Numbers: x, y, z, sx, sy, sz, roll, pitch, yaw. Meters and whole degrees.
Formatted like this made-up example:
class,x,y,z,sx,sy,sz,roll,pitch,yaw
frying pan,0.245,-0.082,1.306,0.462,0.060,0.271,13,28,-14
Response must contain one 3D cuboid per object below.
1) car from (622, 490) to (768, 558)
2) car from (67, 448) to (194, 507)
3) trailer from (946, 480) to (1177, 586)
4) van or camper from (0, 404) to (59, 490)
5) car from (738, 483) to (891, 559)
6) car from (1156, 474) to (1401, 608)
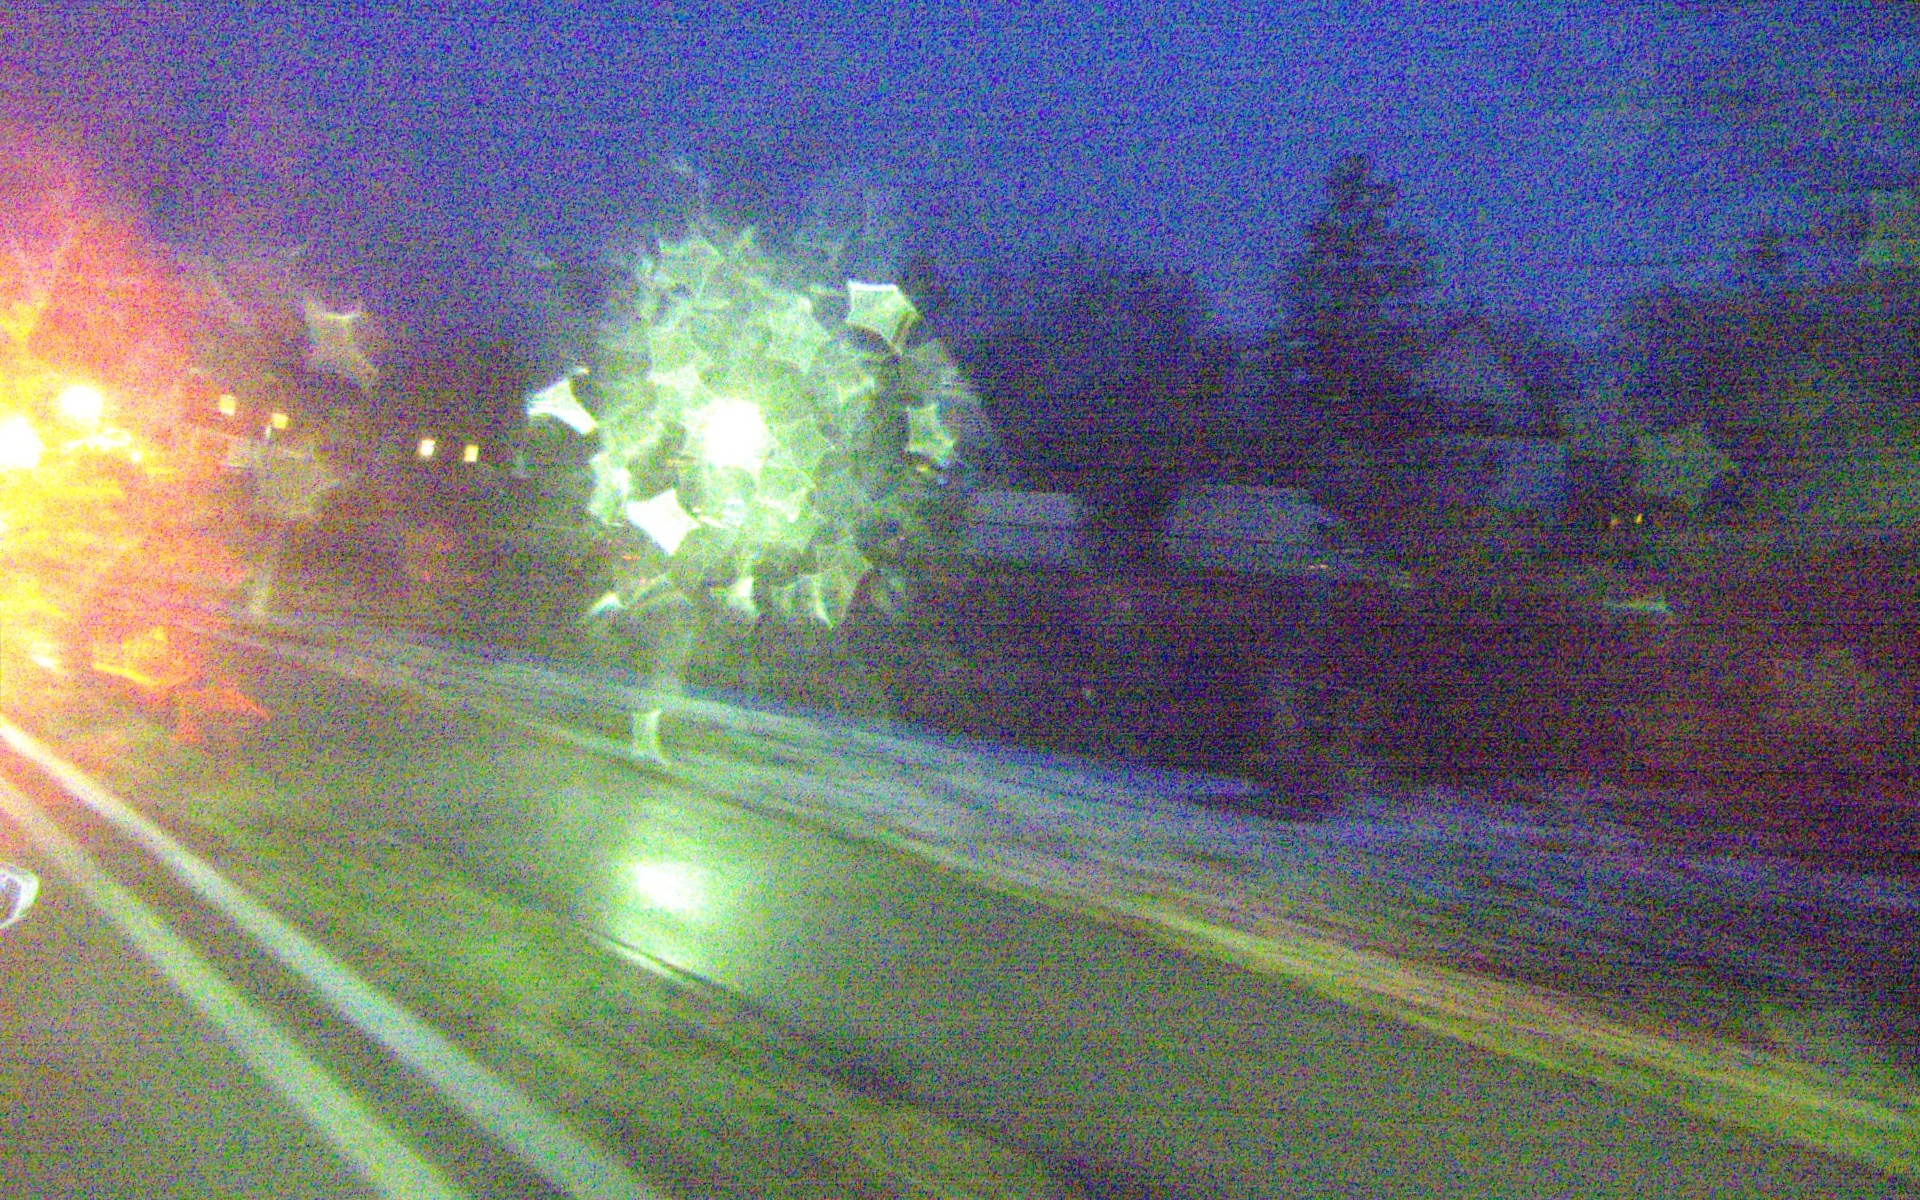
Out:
class,x,y,z,sx,sy,sz,roll,pitch,yaw
car,-8.079,-2.313,30.673,3.925,1.490,1.619,7,-1,18
car,-31.614,-4.675,38.369,4.056,1.637,1.643,7,-1,17
trailer,2.741,-1.791,27.017,5.614,2.096,2.234,7,-1,20
van or camper,-39.116,-6.236,39.341,6.238,2.943,2.590,7,0,15
car,-4.221,-2.284,29.267,3.925,1.659,1.619,7,-1,18
car,7.905,-1.475,25.184,5.349,2.667,2.121,7,-1,20
